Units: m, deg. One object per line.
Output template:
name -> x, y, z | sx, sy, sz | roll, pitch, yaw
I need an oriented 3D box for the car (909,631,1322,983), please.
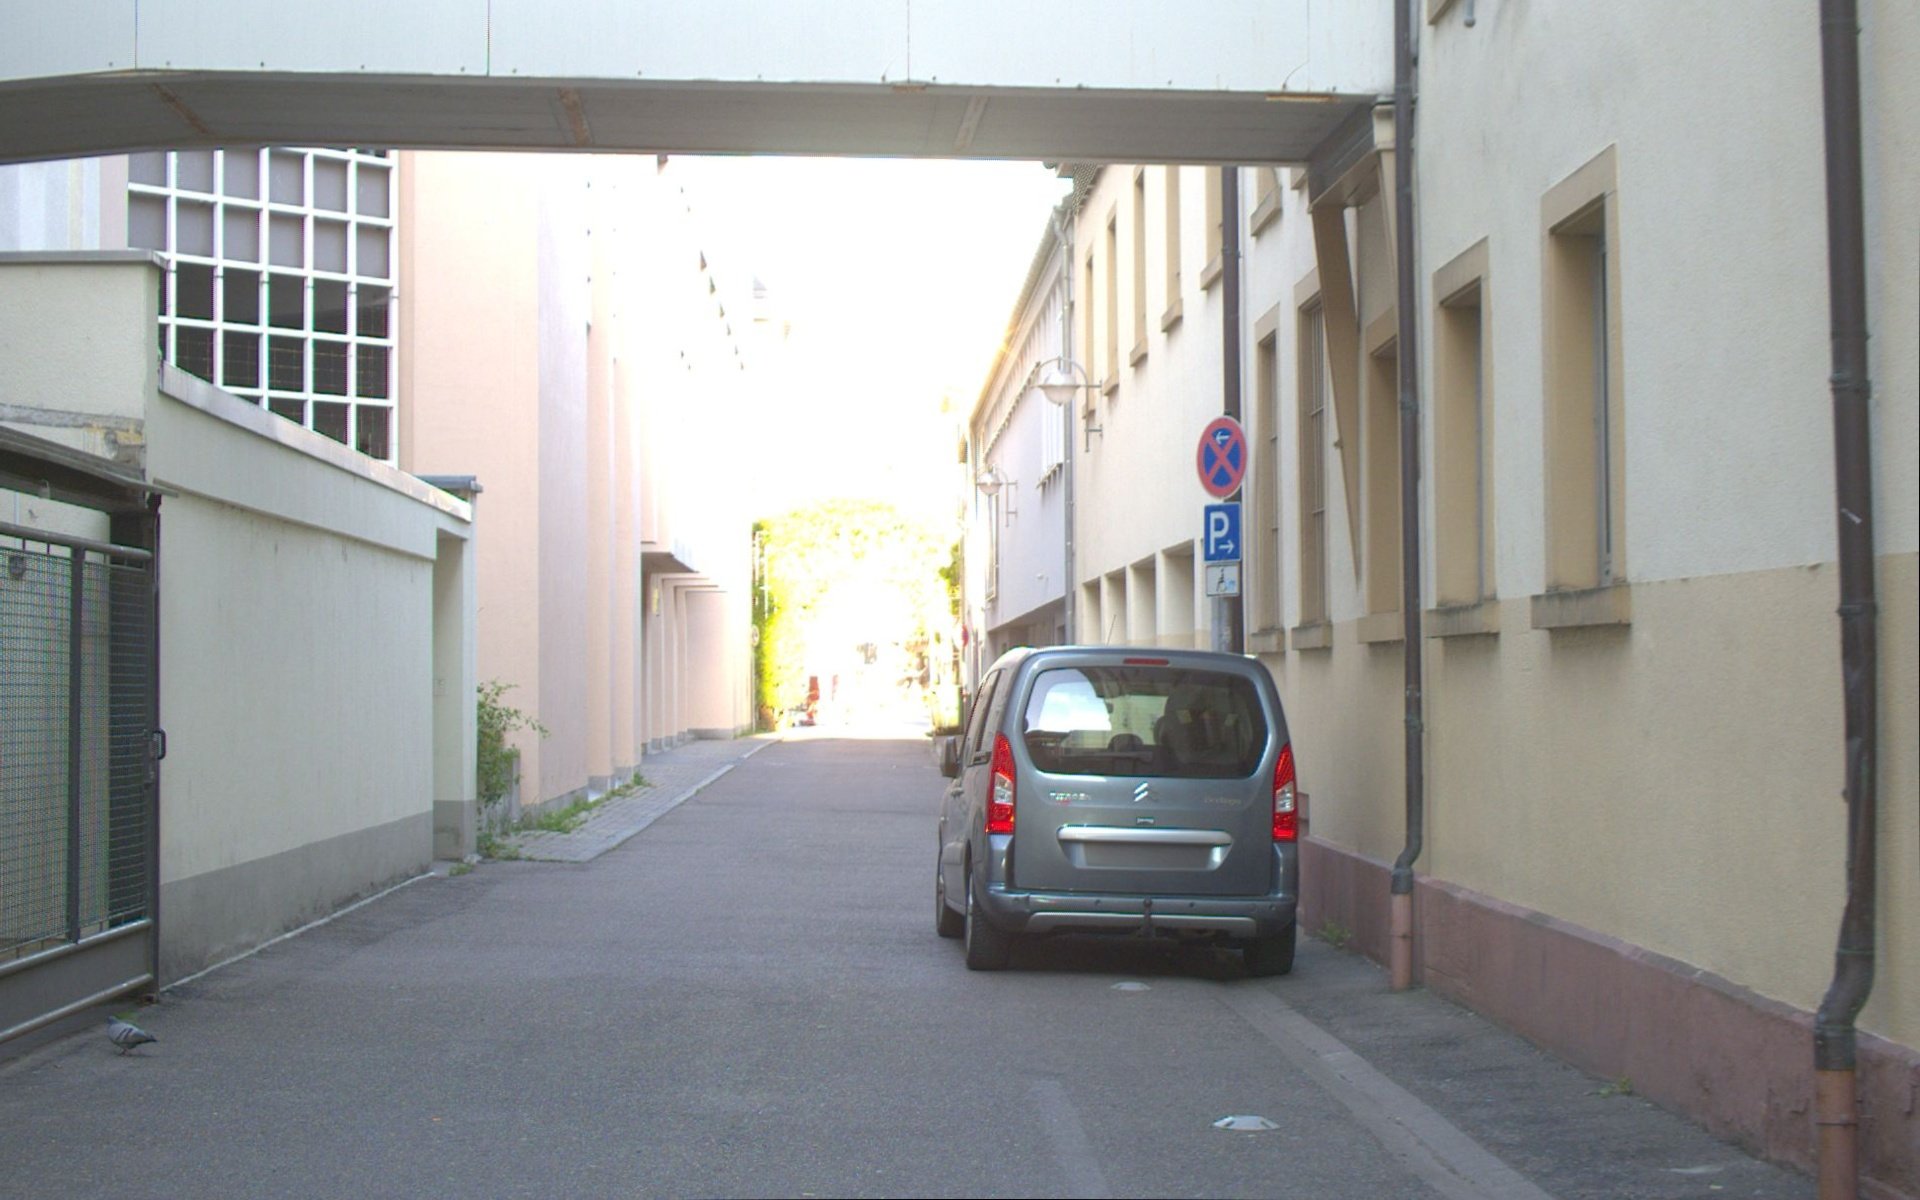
car -> 0.792, 1.155, 20.127 | 1.855, 1.750, 4.162 | 3, -2, -4

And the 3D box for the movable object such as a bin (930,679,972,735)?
movable object such as a bin -> -0.245, 2.867, 92.446 | 1.107, 1.431, 1.414 | 0, 1, -1
